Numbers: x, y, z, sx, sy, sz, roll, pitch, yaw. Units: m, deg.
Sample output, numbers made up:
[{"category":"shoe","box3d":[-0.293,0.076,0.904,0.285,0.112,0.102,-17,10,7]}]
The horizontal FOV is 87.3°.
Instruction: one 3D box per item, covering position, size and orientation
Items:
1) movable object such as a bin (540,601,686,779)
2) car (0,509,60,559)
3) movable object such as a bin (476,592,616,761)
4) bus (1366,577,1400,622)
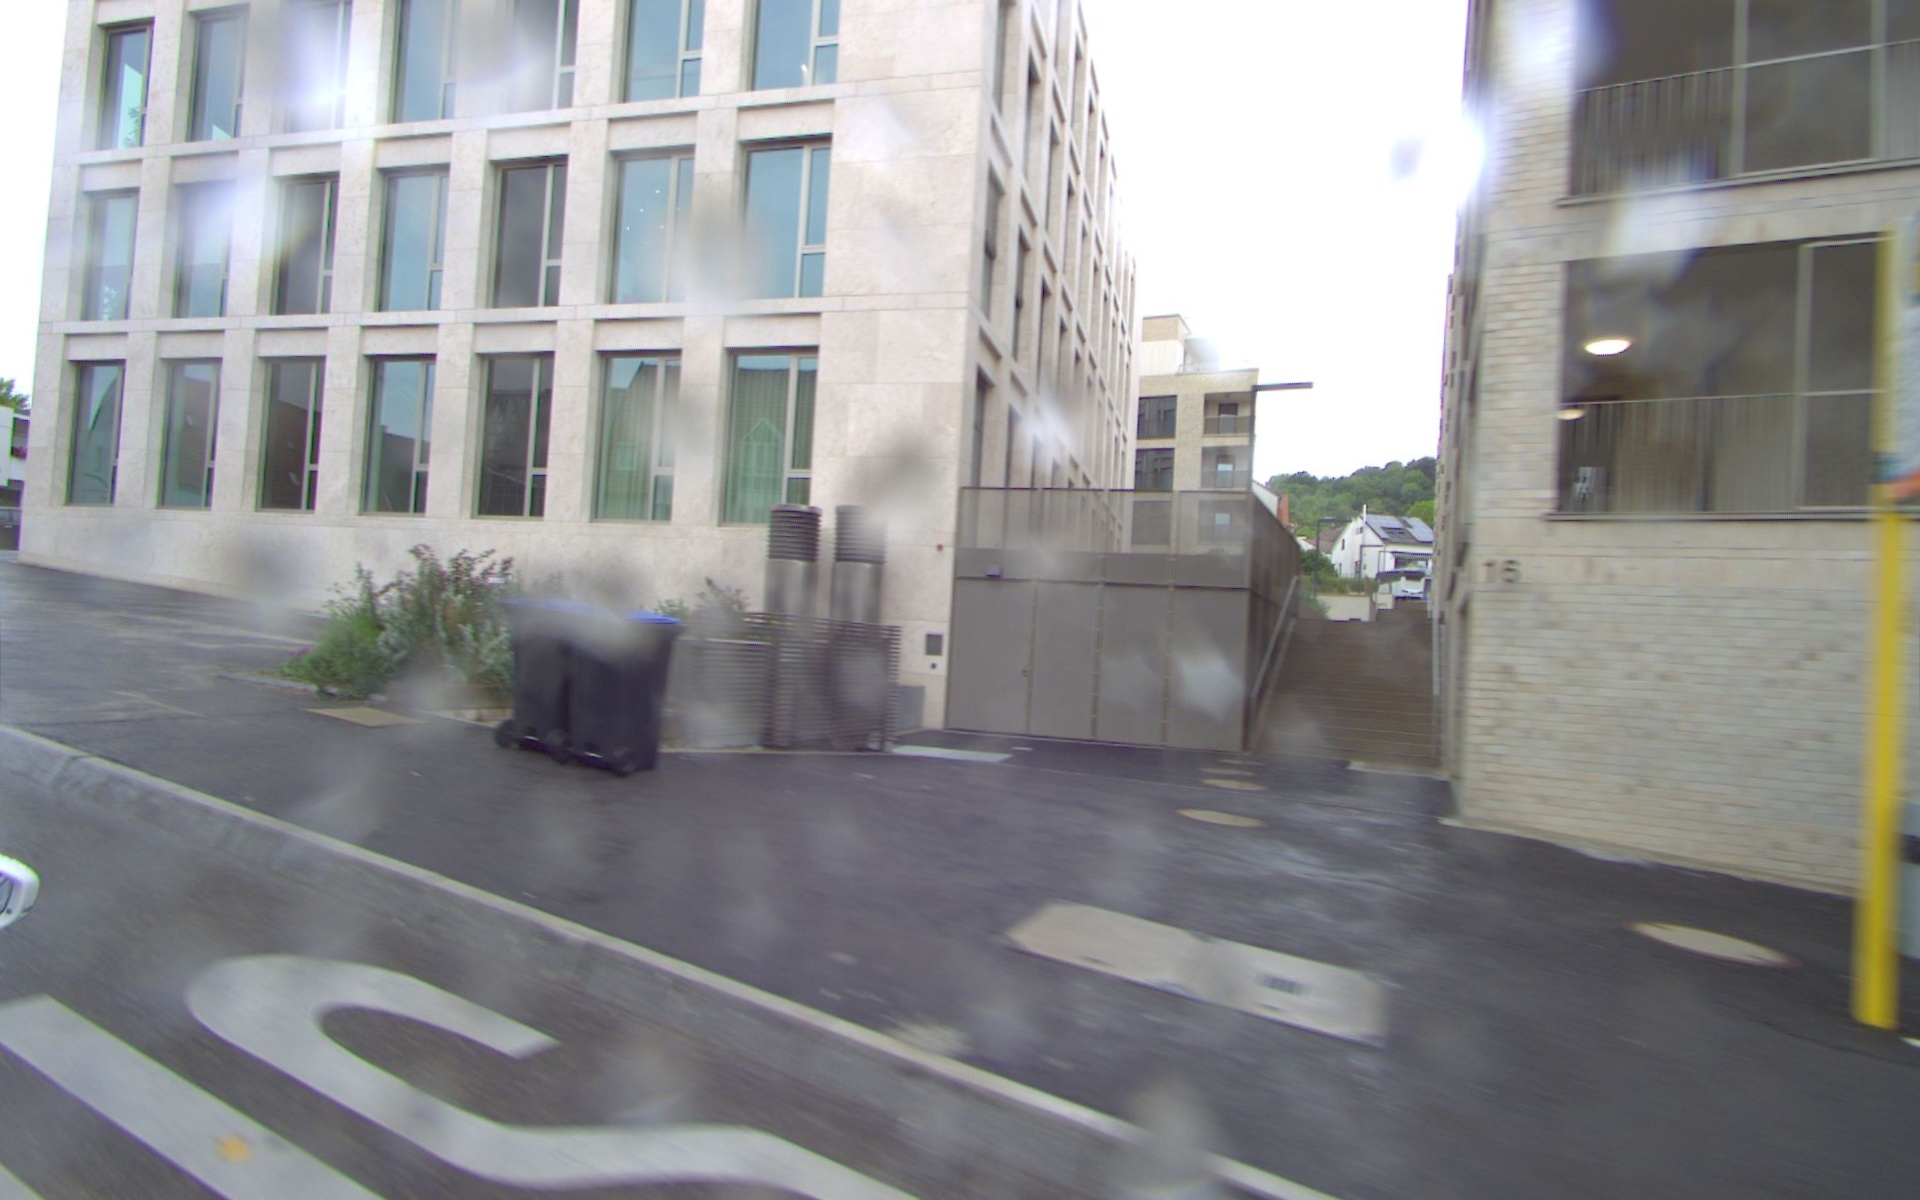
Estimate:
[{"category":"movable object such as a bin","box3d":[-2.323,0.591,6.755,0.569,1.075,0.596,7,1,28]},{"category":"car","box3d":[-38.485,-2.681,39.624,1.745,1.838,4.315,1,0,14]},{"category":"movable object such as a bin","box3d":[-2.924,0.531,7.122,0.569,1.075,0.596,7,1,28]},{"category":"bus","box3d":[36.189,0.016,86.330,1.963,3.056,10.001,7,-1,21]}]
